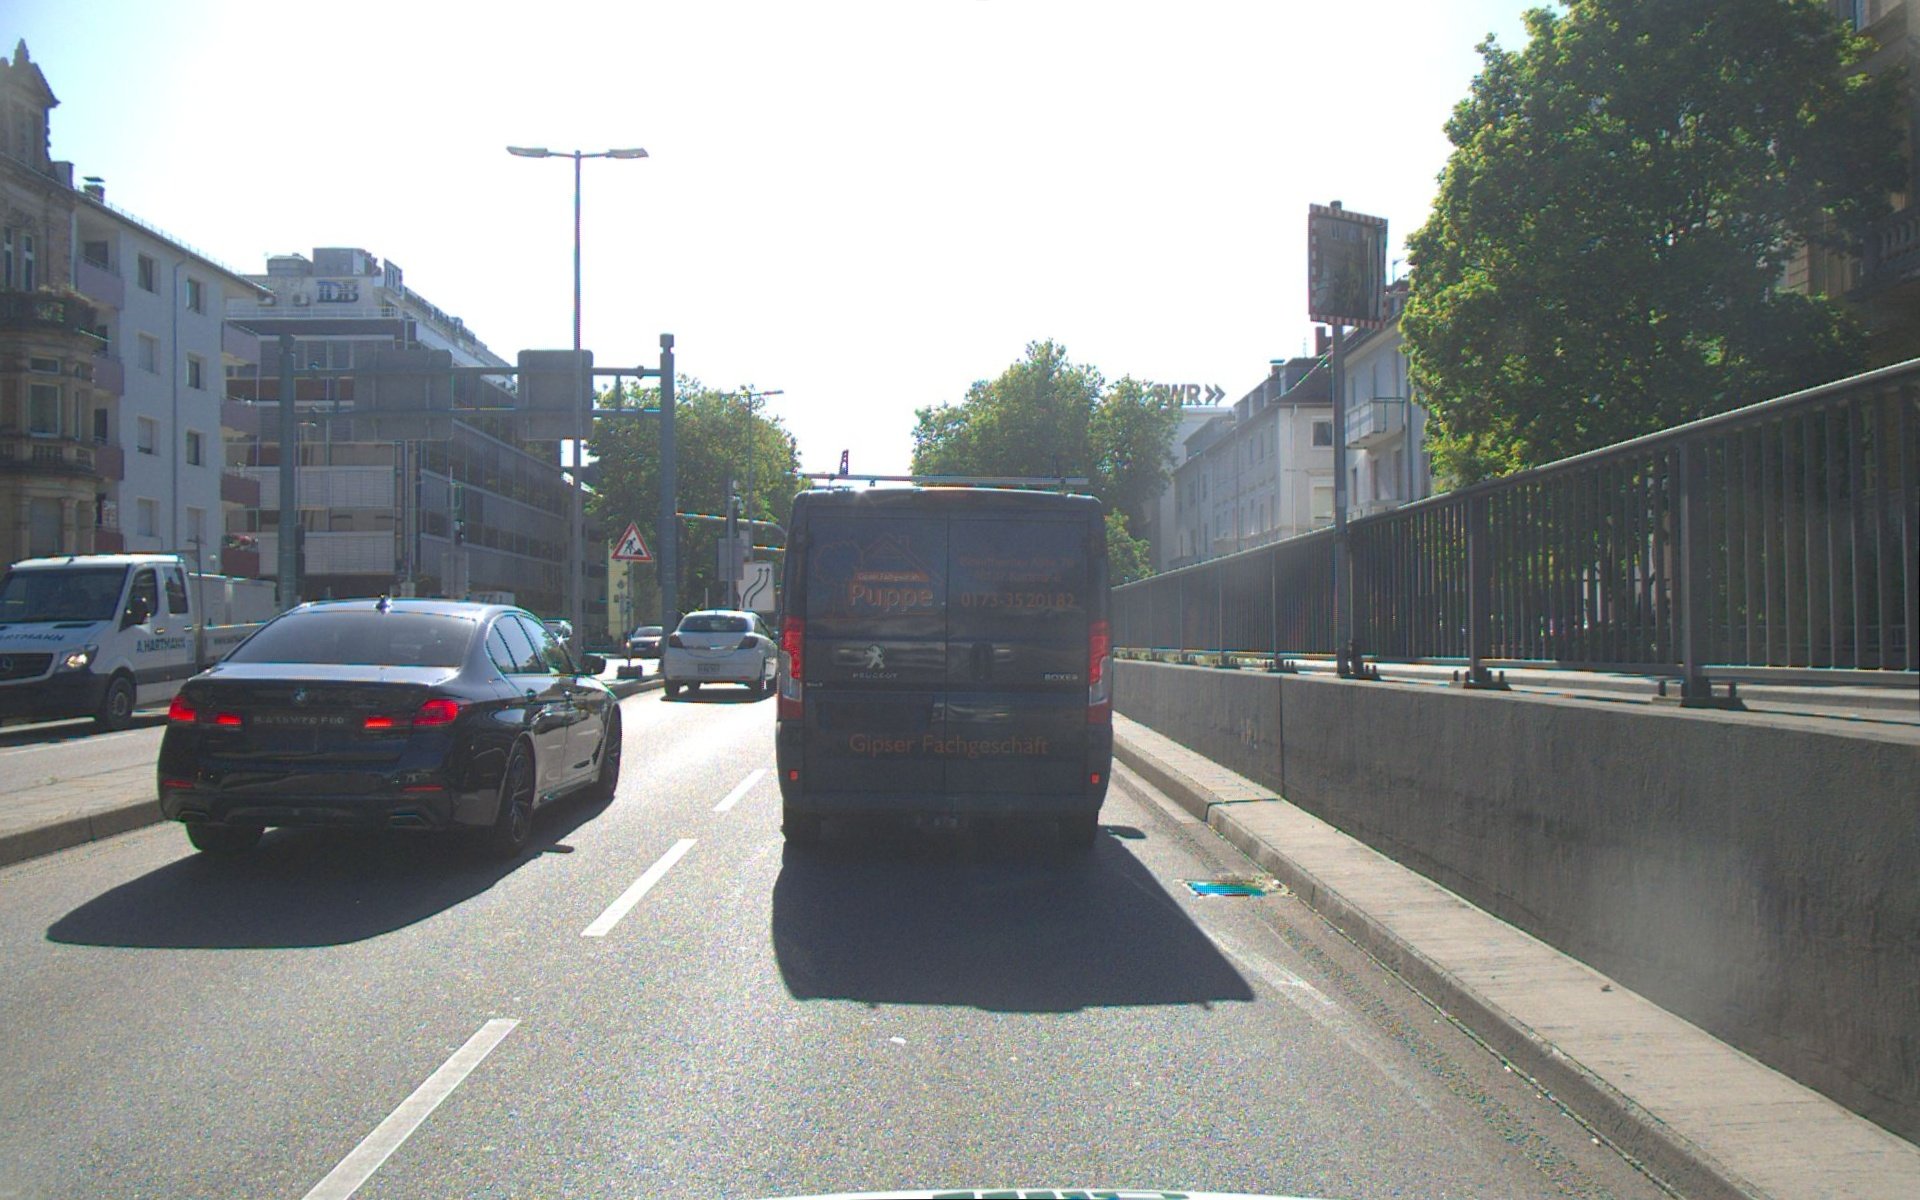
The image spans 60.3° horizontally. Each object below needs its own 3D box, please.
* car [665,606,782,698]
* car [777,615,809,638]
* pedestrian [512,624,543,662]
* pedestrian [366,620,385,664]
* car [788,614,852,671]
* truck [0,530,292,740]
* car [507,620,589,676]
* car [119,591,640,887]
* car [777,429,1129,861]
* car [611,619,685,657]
[{"bbox_3d":[-4.080,0.859,29.035,1.586,1.428,3.851,1,0,-2],"label":"car"},{"bbox_3d":[-11.986,1.925,118.958,1.897,1.582,3.922,1,-1,-1],"label":"car"},{"bbox_3d":[-22.704,2.249,86.835,1.305,1.965,1.025,1,-1,-1],"label":"pedestrian"},{"bbox_3d":[-25.492,1.832,72.161,0.647,1.929,0.720,1,-1,-14],"label":"pedestrian"},{"bbox_3d":[-3.988,1.195,47.559,1.655,1.509,3.317,1,0,-2],"label":"car"},{"bbox_3d":[-11.879,0.410,23.593,2.183,2.572,6.128,-2,1,0],"label":"truck"},{"bbox_3d":[-11.914,1.370,48.031,1.559,1.470,3.494,-3,-1,-2],"label":"car"},{"bbox_3d":[-3.400,0.715,10.827,1.772,1.464,5.000,1,0,-2],"label":"car"},{"bbox_3d":[-0.083,0.278,11.382,1.989,2.445,3.971,0,-1,-1],"label":"car"},{"bbox_3d":[-13.735,1.663,73.064,1.895,1.582,3.926,1,-1,11],"label":"car"}]
